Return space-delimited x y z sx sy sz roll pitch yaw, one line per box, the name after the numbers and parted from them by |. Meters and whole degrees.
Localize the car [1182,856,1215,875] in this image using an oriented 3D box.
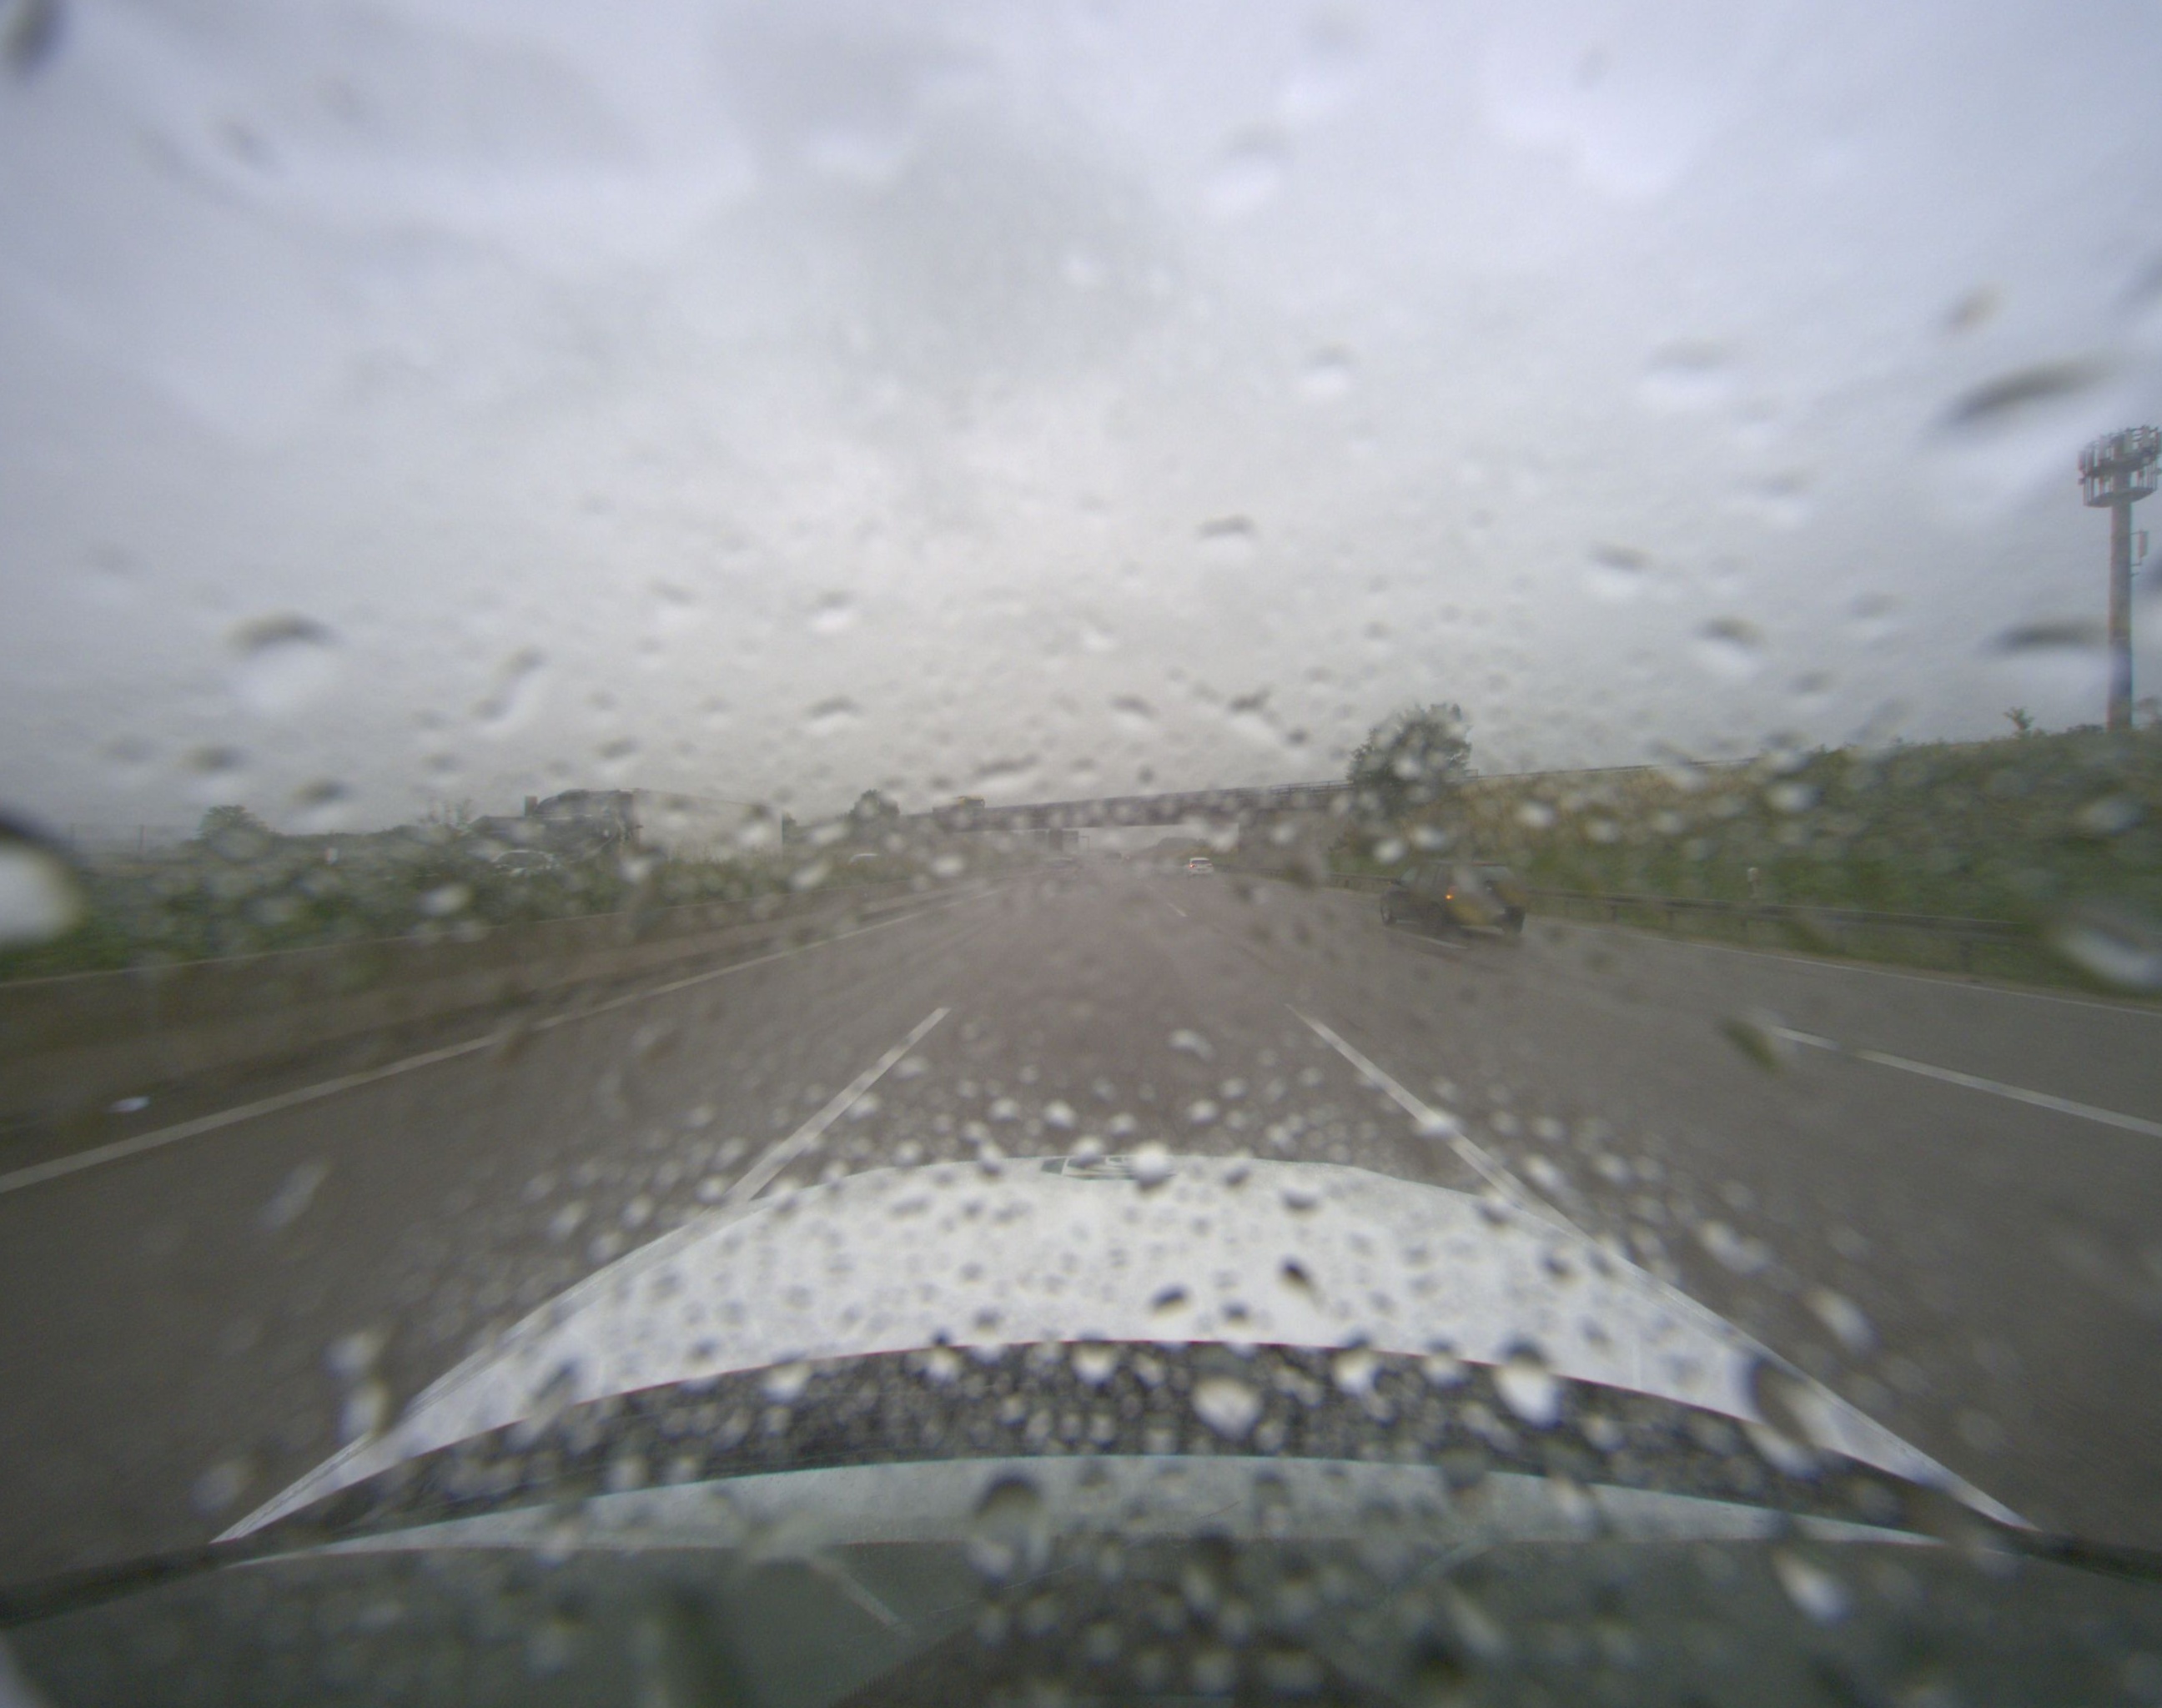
8.051 0.819 56.075 1.984 1.266 4.004 0 -1 4 | car

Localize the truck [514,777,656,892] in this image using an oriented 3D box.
-17.632 -0.631 29.298 1.985 3.781 4.816 0 0 2 | truck

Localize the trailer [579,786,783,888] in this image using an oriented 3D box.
-17.339 -0.614 37.064 1.986 3.765 13.866 0 0 2 | trailer

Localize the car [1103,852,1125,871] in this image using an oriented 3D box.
2.871 0.679 70.936 1.890 1.585 4.002 0 -1 2 | car

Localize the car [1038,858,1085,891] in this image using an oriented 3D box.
-0.897 0.963 40.122 1.838 1.513 4.762 -1 -1 5 | car

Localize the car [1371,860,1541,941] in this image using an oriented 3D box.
7.371 0.843 16.438 1.726 1.421 3.657 0 0 -1 | car
